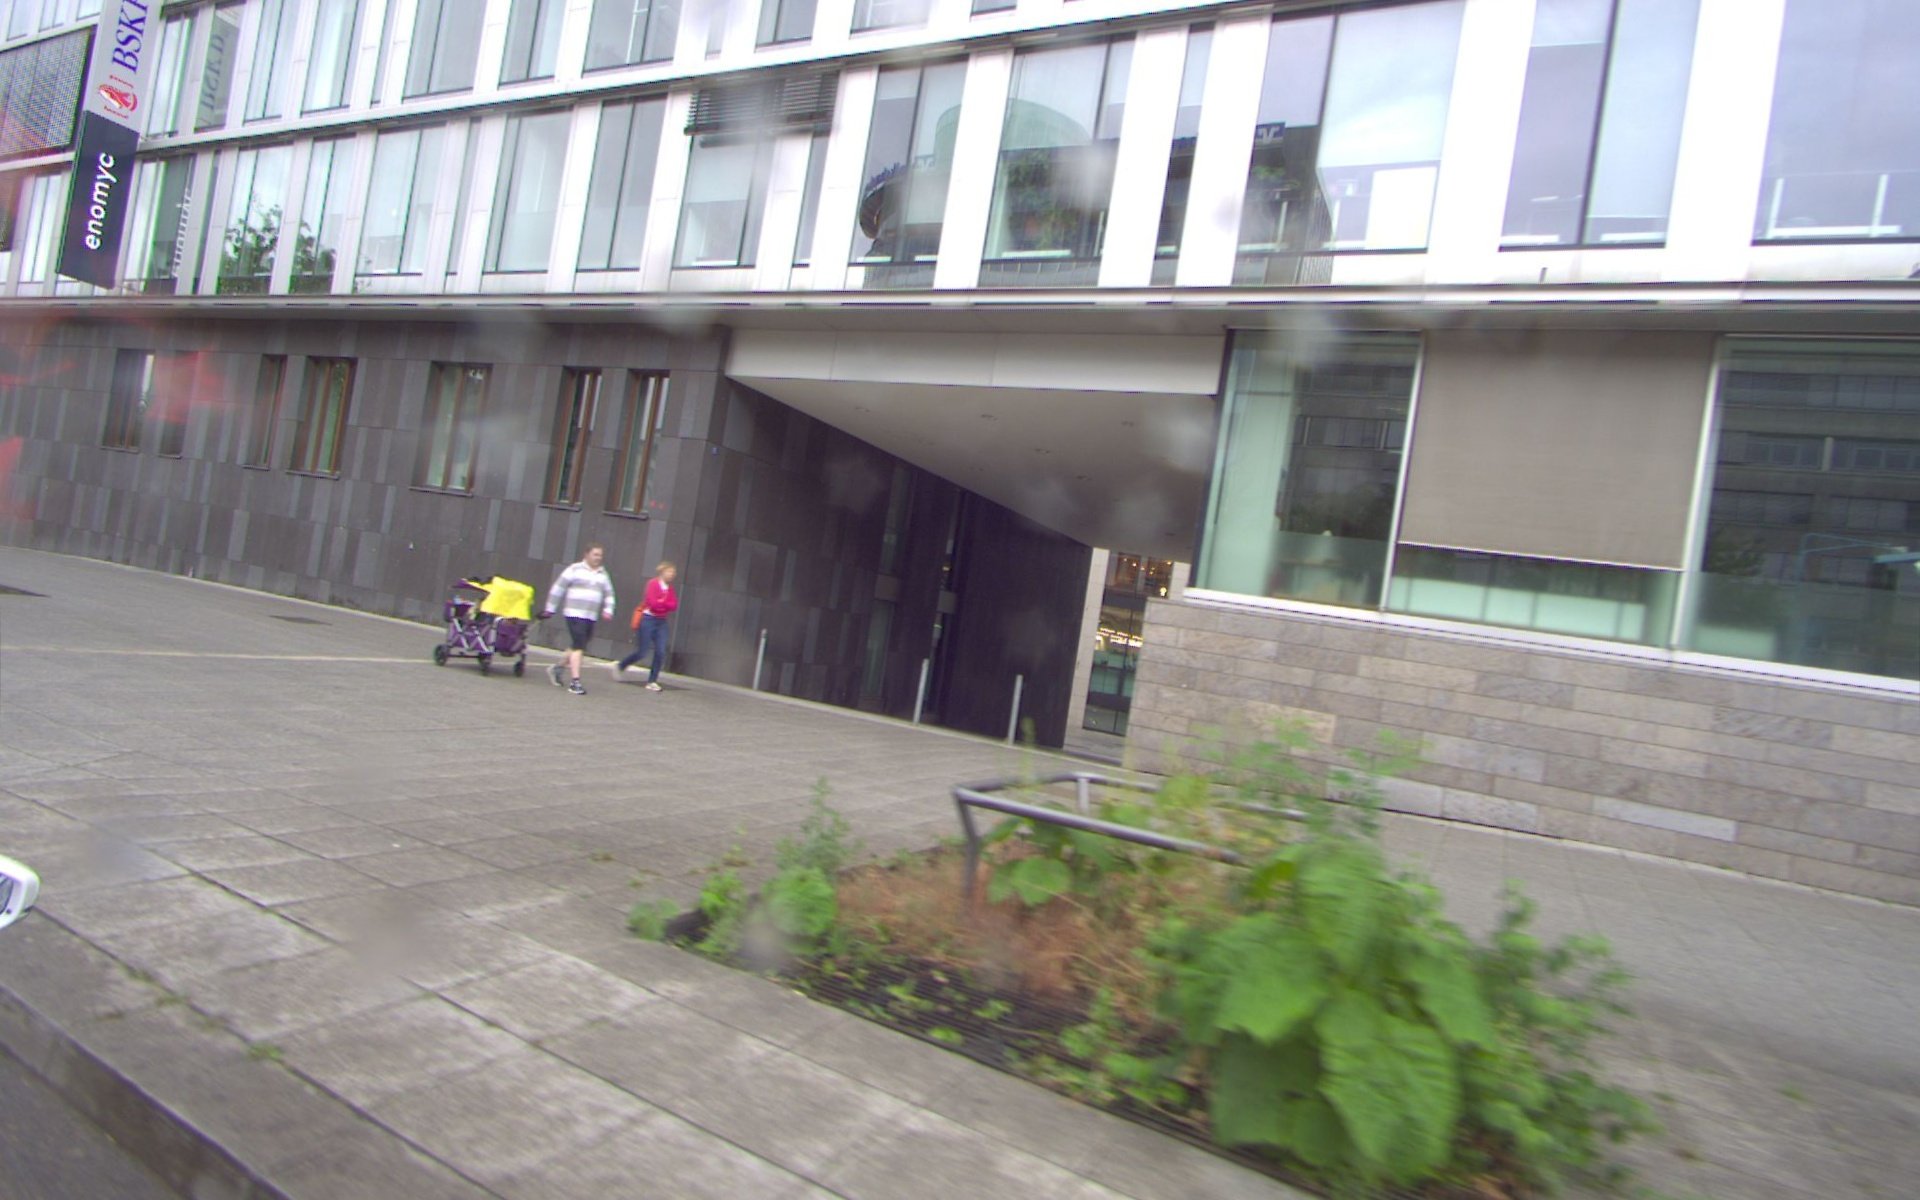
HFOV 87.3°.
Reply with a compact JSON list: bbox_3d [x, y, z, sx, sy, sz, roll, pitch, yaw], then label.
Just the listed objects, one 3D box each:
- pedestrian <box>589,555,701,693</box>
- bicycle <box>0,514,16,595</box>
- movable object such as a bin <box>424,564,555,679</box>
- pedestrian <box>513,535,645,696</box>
[{"bbox_3d":[-4.254,0.324,13.611,1.080,1.711,0.719,7,1,26],"label":"pedestrian"},{"bbox_3d":[-13.711,-0.756,12.640,0.665,1.069,2.544,7,-2,27],"label":"bicycle"},{"bbox_3d":[-6.091,0.274,13.008,1.419,1.280,0.732,7,1,29],"label":"movable object such as a bin"},{"bbox_3d":[-4.705,0.192,12.440,1.028,1.814,0.902,7,1,26],"label":"pedestrian"}]
